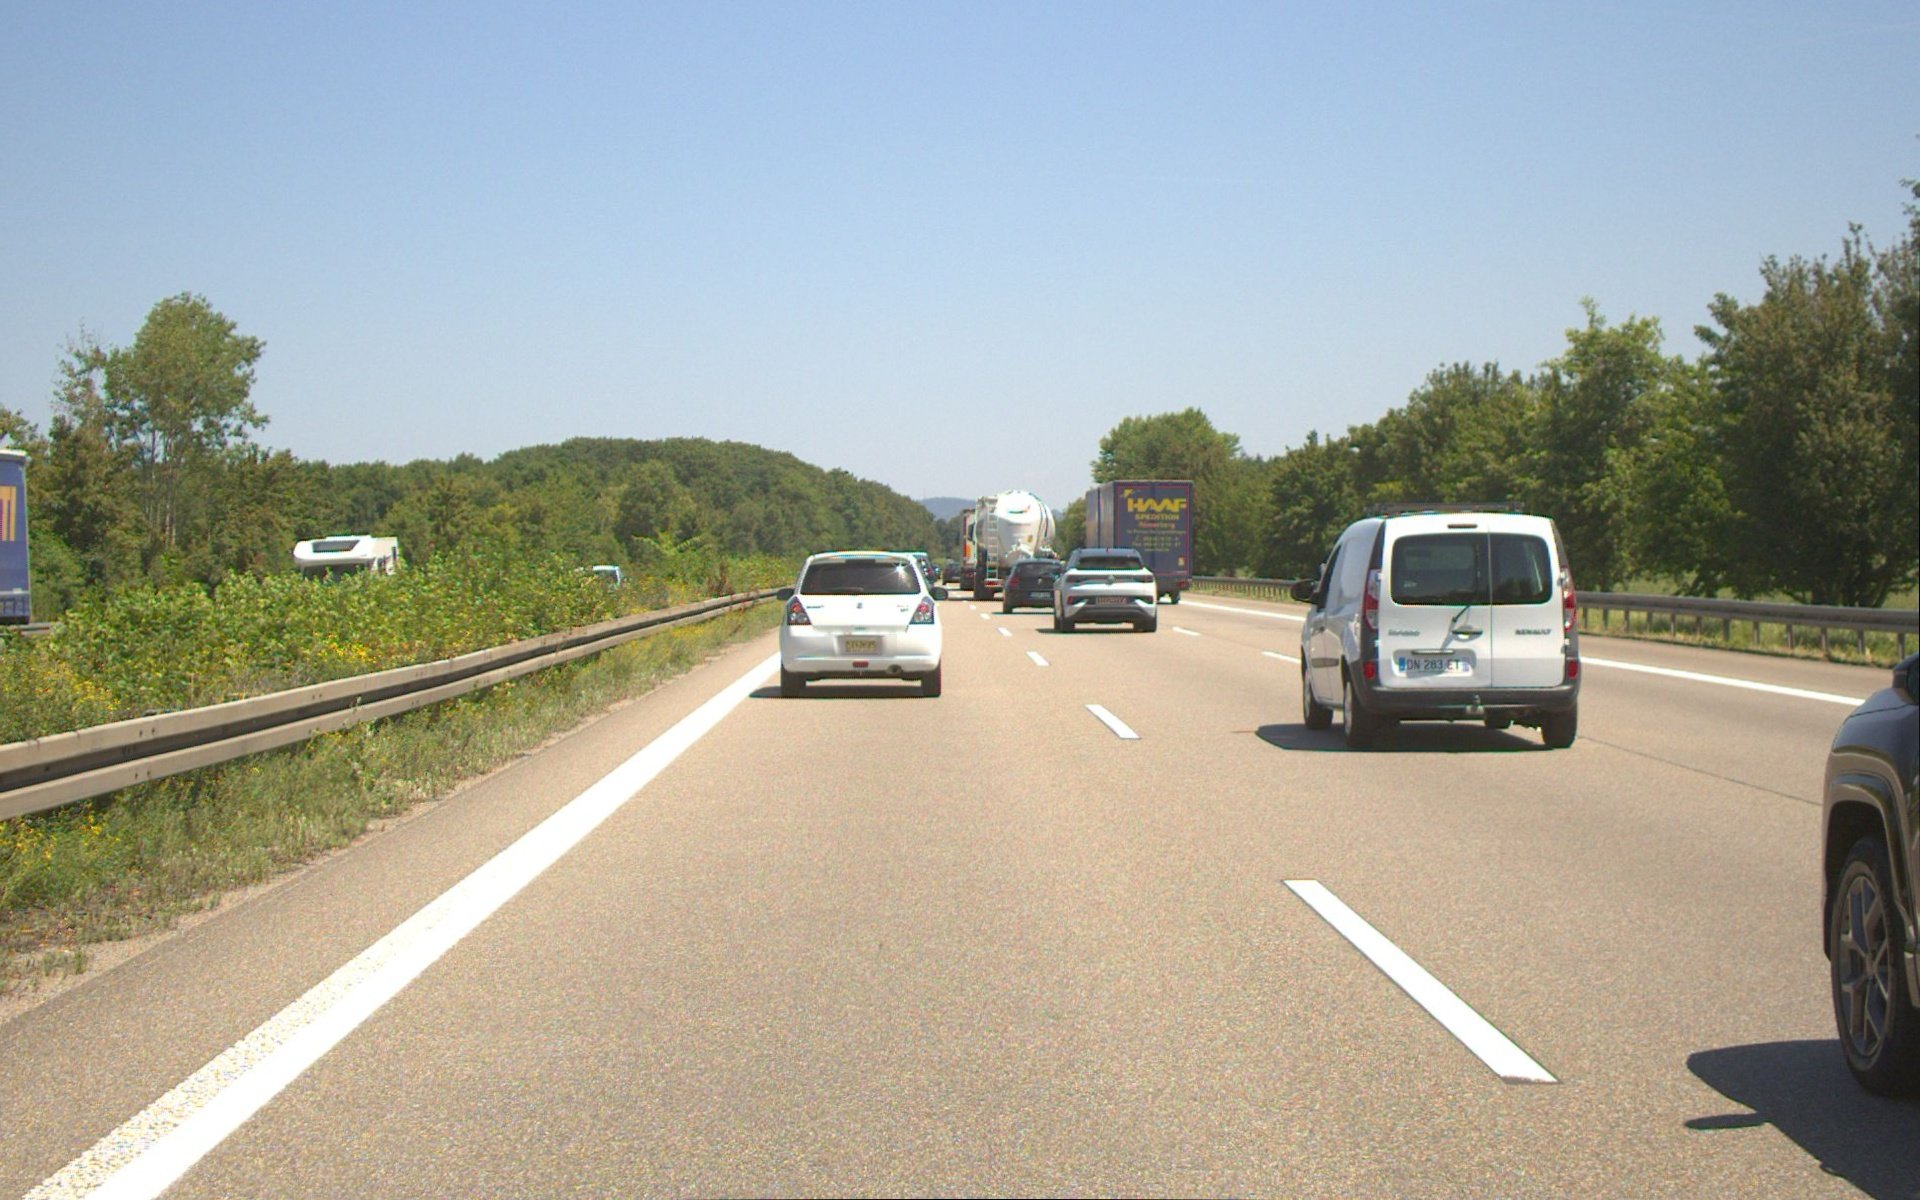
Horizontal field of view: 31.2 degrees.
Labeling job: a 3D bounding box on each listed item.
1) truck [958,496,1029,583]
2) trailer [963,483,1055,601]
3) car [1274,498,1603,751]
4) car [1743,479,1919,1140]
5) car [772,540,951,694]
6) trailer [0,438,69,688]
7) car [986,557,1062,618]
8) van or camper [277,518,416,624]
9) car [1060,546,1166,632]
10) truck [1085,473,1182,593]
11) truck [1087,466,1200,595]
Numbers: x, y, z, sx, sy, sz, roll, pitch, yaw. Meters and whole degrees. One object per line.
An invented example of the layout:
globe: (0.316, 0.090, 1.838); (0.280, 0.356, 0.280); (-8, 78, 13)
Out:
truck: (1.651, -3.014, 173.572); (3.394, 4.199, 12.083); (1, 1, 0)
trailer: (1.692, -2.071, 124.678); (2.911, 4.055, 12.419); (1, 1, -1)
car: (3.762, 0.153, 27.855); (1.853, 1.856, 4.702); (1, 1, -2)
car: (3.372, 0.544, 8.177); (1.867, 1.669, 4.746); (1, 1, -1)
car: (-1.043, 0.154, 36.789); (1.799, 1.547, 3.610); (1, 1, -1)
trailer: (-17.525, -0.622, 54.995); (2.977, 4.197, 13.735); (-2, -1, -1)
car: (1.640, -0.340, 89.707); (1.850, 1.518, 3.957); (1, 1, -1)
van or camper: (-18.534, -0.895, 104.272); (2.850, 2.959, 7.447); (-3, 1, -1)
car: (2.939, -0.226, 66.725); (1.802, 1.597, 4.381); (1, 1, -1)
truck: (6.202, -2.386, 124.076); (3.109, 4.124, 8.056); (1, 1, 0)
truck: (6.168, -2.317, 118.090); (3.109, 4.124, 15.511); (1, 1, 0)
